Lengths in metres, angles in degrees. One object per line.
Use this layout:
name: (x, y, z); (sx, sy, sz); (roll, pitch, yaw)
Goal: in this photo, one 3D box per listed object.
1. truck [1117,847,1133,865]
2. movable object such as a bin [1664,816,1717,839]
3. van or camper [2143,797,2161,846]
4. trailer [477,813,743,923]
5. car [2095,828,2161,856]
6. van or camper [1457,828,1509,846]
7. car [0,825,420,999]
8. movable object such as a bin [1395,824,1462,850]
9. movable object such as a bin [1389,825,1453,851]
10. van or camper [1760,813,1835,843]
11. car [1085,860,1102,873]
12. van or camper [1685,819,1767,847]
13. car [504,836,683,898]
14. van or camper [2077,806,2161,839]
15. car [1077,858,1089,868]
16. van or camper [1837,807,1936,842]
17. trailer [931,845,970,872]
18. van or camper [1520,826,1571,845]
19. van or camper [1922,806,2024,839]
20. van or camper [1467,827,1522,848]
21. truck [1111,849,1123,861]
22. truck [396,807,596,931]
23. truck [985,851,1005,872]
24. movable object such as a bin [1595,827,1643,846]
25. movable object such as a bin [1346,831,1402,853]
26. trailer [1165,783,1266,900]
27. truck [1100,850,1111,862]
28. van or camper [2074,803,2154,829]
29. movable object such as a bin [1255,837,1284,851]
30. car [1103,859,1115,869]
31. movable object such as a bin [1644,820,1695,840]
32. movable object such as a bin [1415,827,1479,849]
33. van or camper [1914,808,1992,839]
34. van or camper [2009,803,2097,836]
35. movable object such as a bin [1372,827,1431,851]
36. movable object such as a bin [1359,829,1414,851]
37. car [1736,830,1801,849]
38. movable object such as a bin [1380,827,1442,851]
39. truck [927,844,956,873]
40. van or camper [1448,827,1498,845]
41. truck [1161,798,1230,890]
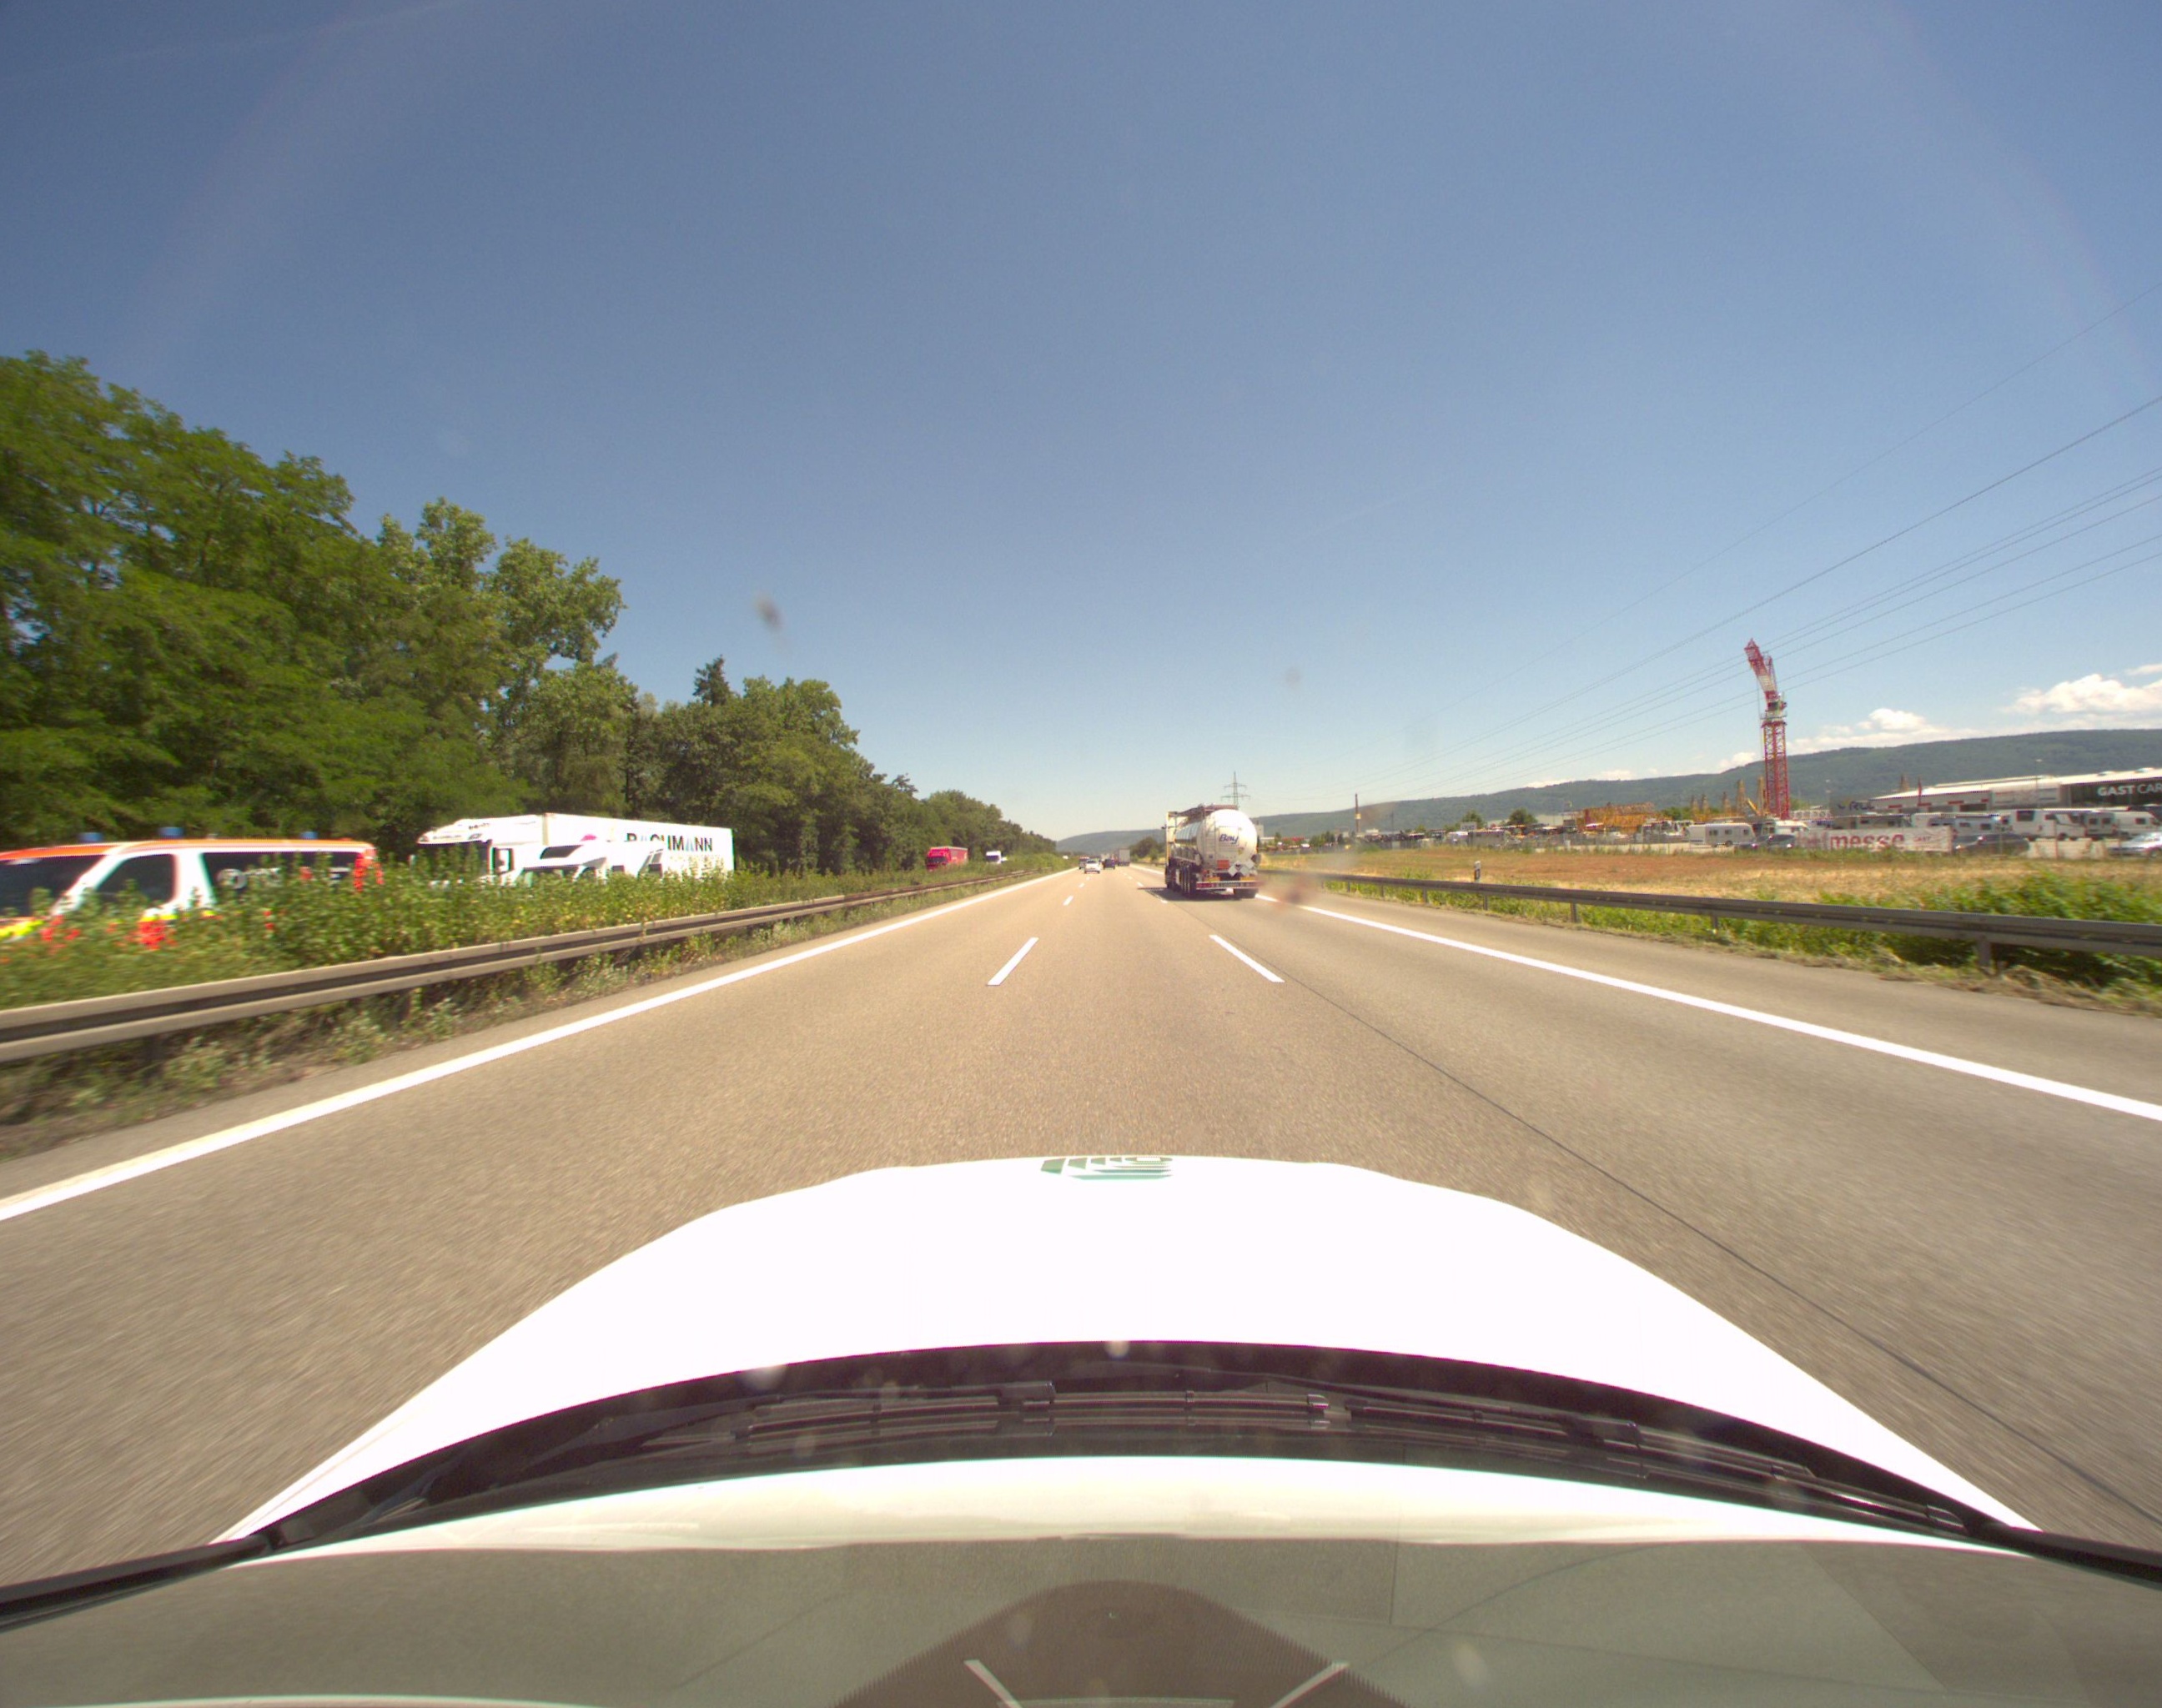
truck: (9.930, 0.461, 184.838); (3.253, 3.857, 11.634); (0, 0, 1)
movable object such as a bin: (92.933, -3.940, 124.338); (2.902, 3.029, 6.810); (-3, -1, 2)
van or camper: (67.618, -2.080, 47.449); (7.721, 2.881, 3.152); (-2, 0, -4)
trailer: (-18.898, 0.501, 34.624); (2.815, 3.710, 13.933); (0, 0, 2)
car: (54.530, -0.627, 41.381); (3.875, 1.298, 1.587); (-2, 0, 2)
van or camper: (57.634, -2.459, 116.712); (6.091, 2.220, 2.604); (-3, 0, 3)
car: (-12.127, 0.599, 10.919); (2.086, 1.780, 5.459); (0, 0, -1)
movable object such as a bin: (58.716, -2.892, 137.932); (9.665, 3.689, 3.425); (-4, -1, 7)
movable object such as a bin: (59.039, -2.743, 141.419); (9.664, 3.689, 2.982); (-4, -1, 7)
van or camper: (72.969, -2.643, 83.025); (5.241, 2.677, 2.616); (-3, 0, -1)
car: (1.414, 1.384, 91.202); (1.800, 1.468, 4.002); (0, 0, 2)
van or camper: (70.703, -2.322, 89.341); (6.330, 2.677, 3.325); (-3, 0, 0)
car: (-15.369, 0.390, 26.165); (2.293, 1.780, 5.428); (0, 0, 3)
van or camper: (89.267, -2.681, 69.736); (5.306, 2.556, 2.416); (-3, 0, -6)
car: (0.407, 1.471, 132.088); (1.845, 1.633, 4.002); (0, 0, 2)
van or camper: (72.527, -2.608, 73.387); (6.426, 2.767, 2.422); (-3, 0, -1)
trailer: (-17.147, 0.586, 108.113); (2.577, 3.417, 14.159); (0, 0, 1)
van or camper: (70.261, -2.769, 123.261); (6.091, 2.402, 2.604); (-3, 0, 3)
van or camper: (72.961, -2.561, 66.676); (5.626, 2.309, 2.547); (-3, 0, -3)
van or camper: (57.369, -2.248, 113.098); (6.316, 2.552, 2.440); (-3, 0, 3)
truck: (10.687, 0.334, 241.995); (3.086, 3.474, 11.545); (0, 0, 1)
truck: (-19.139, 0.467, 27.064); (2.784, 3.721, 5.120); (0, 0, 2)
truck: (-15.522, 1.355, 147.093); (2.580, 3.705, 6.832); (0, 0, 3)
movable object such as a bin: (82.617, -2.713, 125.279); (2.902, 2.554, 6.810); (-3, -1, 2)
movable object such as a bin: (59.333, -2.403, 164.981); (10.217, 3.689, 2.394); (-4, -1, 1)
trailer: (5.257, -0.421, 33.903); (2.571, 4.074, 11.105); (0, 0, 1)
truck: (7.379, 0.628, 245.933); (3.086, 3.474, 11.545); (0, 0, 1)
van or camper: (103.290, -3.785, 81.459); (5.246, 2.293, 2.375); (-3, 0, -3)
movable object such as a bin: (56.640, -2.911, 244.651); (8.139, 3.732, 3.345); (-4, -1, 8)
car: (4.307, 1.479, 125.739); (1.878, 1.515, 4.002); (0, 0, 2)
movable object such as a bin: (89.709, -3.622, 124.293); (2.902, 2.554, 6.810); (-3, -1, 2)
movable object such as a bin: (58.571, -2.527, 130.579); (8.682, 3.006, 3.221); (-4, -1, 7)
van or camper: (86.857, -3.024, 81.164); (5.250, 2.765, 2.611); (-3, 0, -6)
van or camper: (86.751, -3.061, 72.723); (5.306, 2.556, 2.416); (-3, 0, -6)
movable object such as a bin: (59.205, -2.781, 150.577); (9.675, 3.689, 2.635); (-4, -1, 3)
movable object such as a bin: (60.385, -2.796, 161.115); (9.682, 3.689, 2.679); (-4, -1, 1)
car: (54.875, -1.167, 65.051); (3.879, 1.298, 1.586); (-3, 0, -1)
movable object such as a bin: (59.321, -2.660, 146.623); (9.675, 3.689, 2.979); (-4, -1, 3)
truck: (-17.316, 0.570, 101.123); (2.589, 3.422, 5.118); (0, 0, 1)
van or camper: (57.559, -2.628, 119.685); (6.091, 2.402, 2.604); (-3, 0, 3)
truck: (5.377, -0.417, 39.324); (2.564, 4.072, 6.394); (0, 0, 1)
